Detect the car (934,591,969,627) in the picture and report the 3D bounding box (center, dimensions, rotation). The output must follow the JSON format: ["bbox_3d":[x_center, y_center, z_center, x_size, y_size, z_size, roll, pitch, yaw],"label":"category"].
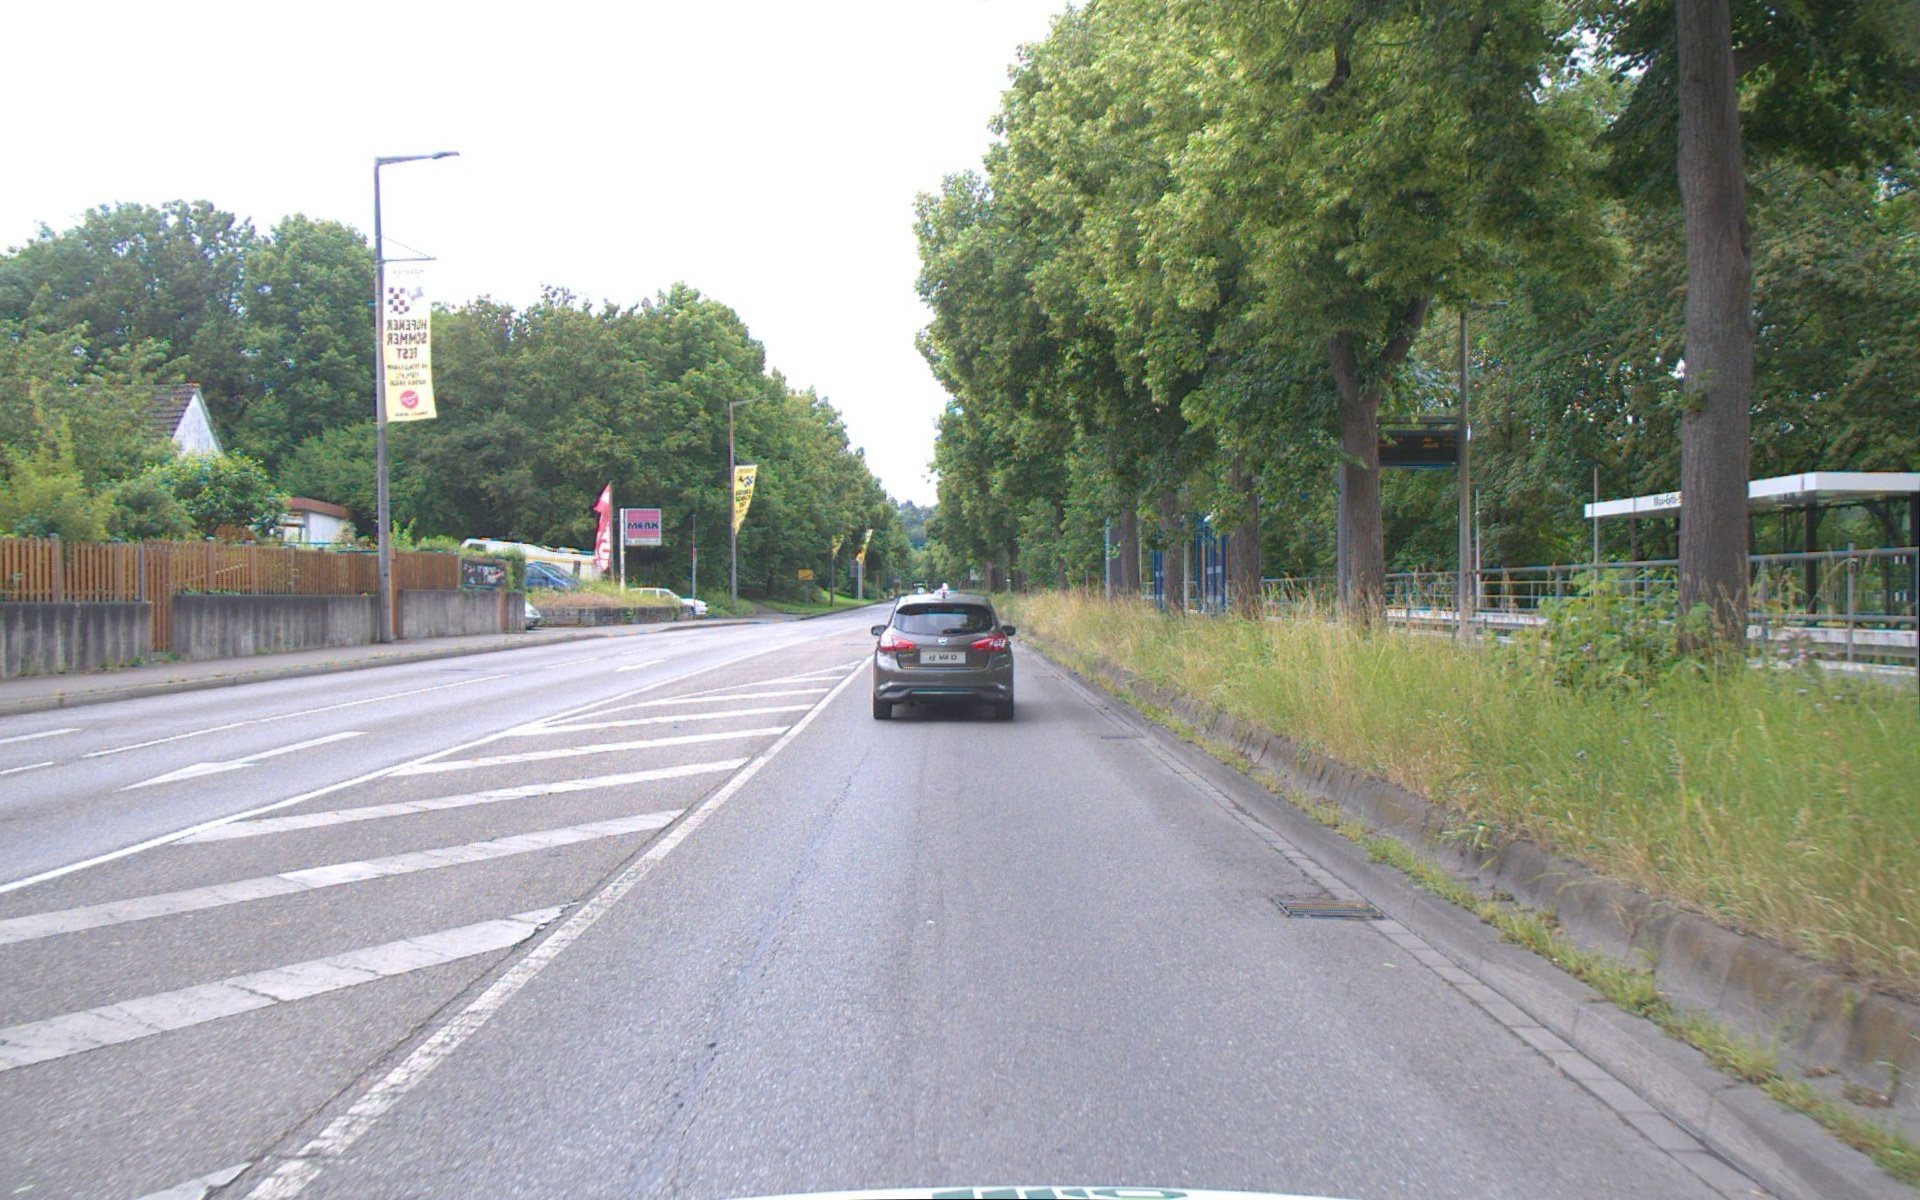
[{"bbox_3d":[-0.346,0.415,75.289,1.472,1.555,3.671,1,0,1],"label":"car"}]

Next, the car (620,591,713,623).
[{"bbox_3d":[-14.625,0.330,82.581,4.287,1.466,1.960,2,0,-3],"label":"car"}]

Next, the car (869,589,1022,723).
[{"bbox_3d":[-0.130,0.669,21.543,1.799,1.555,3.929,1,0,1],"label":"car"}]

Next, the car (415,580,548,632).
[{"bbox_3d":[-16.339,0.218,56.653,3.905,1.646,2.000,2,-1,0],"label":"car"}]

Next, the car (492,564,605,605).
[{"bbox_3d":[-15.965,-0.589,64.240,3.903,1.435,1.534,1,-1,4],"label":"car"}]

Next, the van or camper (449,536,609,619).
[{"bbox_3d":[-21.369,-1.103,82.284,6.998,3.429,2.796,5,0,-1],"label":"van or camper"}]

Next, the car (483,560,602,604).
[{"bbox_3d":[-15.724,-0.654,62.374,3.903,1.523,1.860,1,-1,4],"label":"car"}]
